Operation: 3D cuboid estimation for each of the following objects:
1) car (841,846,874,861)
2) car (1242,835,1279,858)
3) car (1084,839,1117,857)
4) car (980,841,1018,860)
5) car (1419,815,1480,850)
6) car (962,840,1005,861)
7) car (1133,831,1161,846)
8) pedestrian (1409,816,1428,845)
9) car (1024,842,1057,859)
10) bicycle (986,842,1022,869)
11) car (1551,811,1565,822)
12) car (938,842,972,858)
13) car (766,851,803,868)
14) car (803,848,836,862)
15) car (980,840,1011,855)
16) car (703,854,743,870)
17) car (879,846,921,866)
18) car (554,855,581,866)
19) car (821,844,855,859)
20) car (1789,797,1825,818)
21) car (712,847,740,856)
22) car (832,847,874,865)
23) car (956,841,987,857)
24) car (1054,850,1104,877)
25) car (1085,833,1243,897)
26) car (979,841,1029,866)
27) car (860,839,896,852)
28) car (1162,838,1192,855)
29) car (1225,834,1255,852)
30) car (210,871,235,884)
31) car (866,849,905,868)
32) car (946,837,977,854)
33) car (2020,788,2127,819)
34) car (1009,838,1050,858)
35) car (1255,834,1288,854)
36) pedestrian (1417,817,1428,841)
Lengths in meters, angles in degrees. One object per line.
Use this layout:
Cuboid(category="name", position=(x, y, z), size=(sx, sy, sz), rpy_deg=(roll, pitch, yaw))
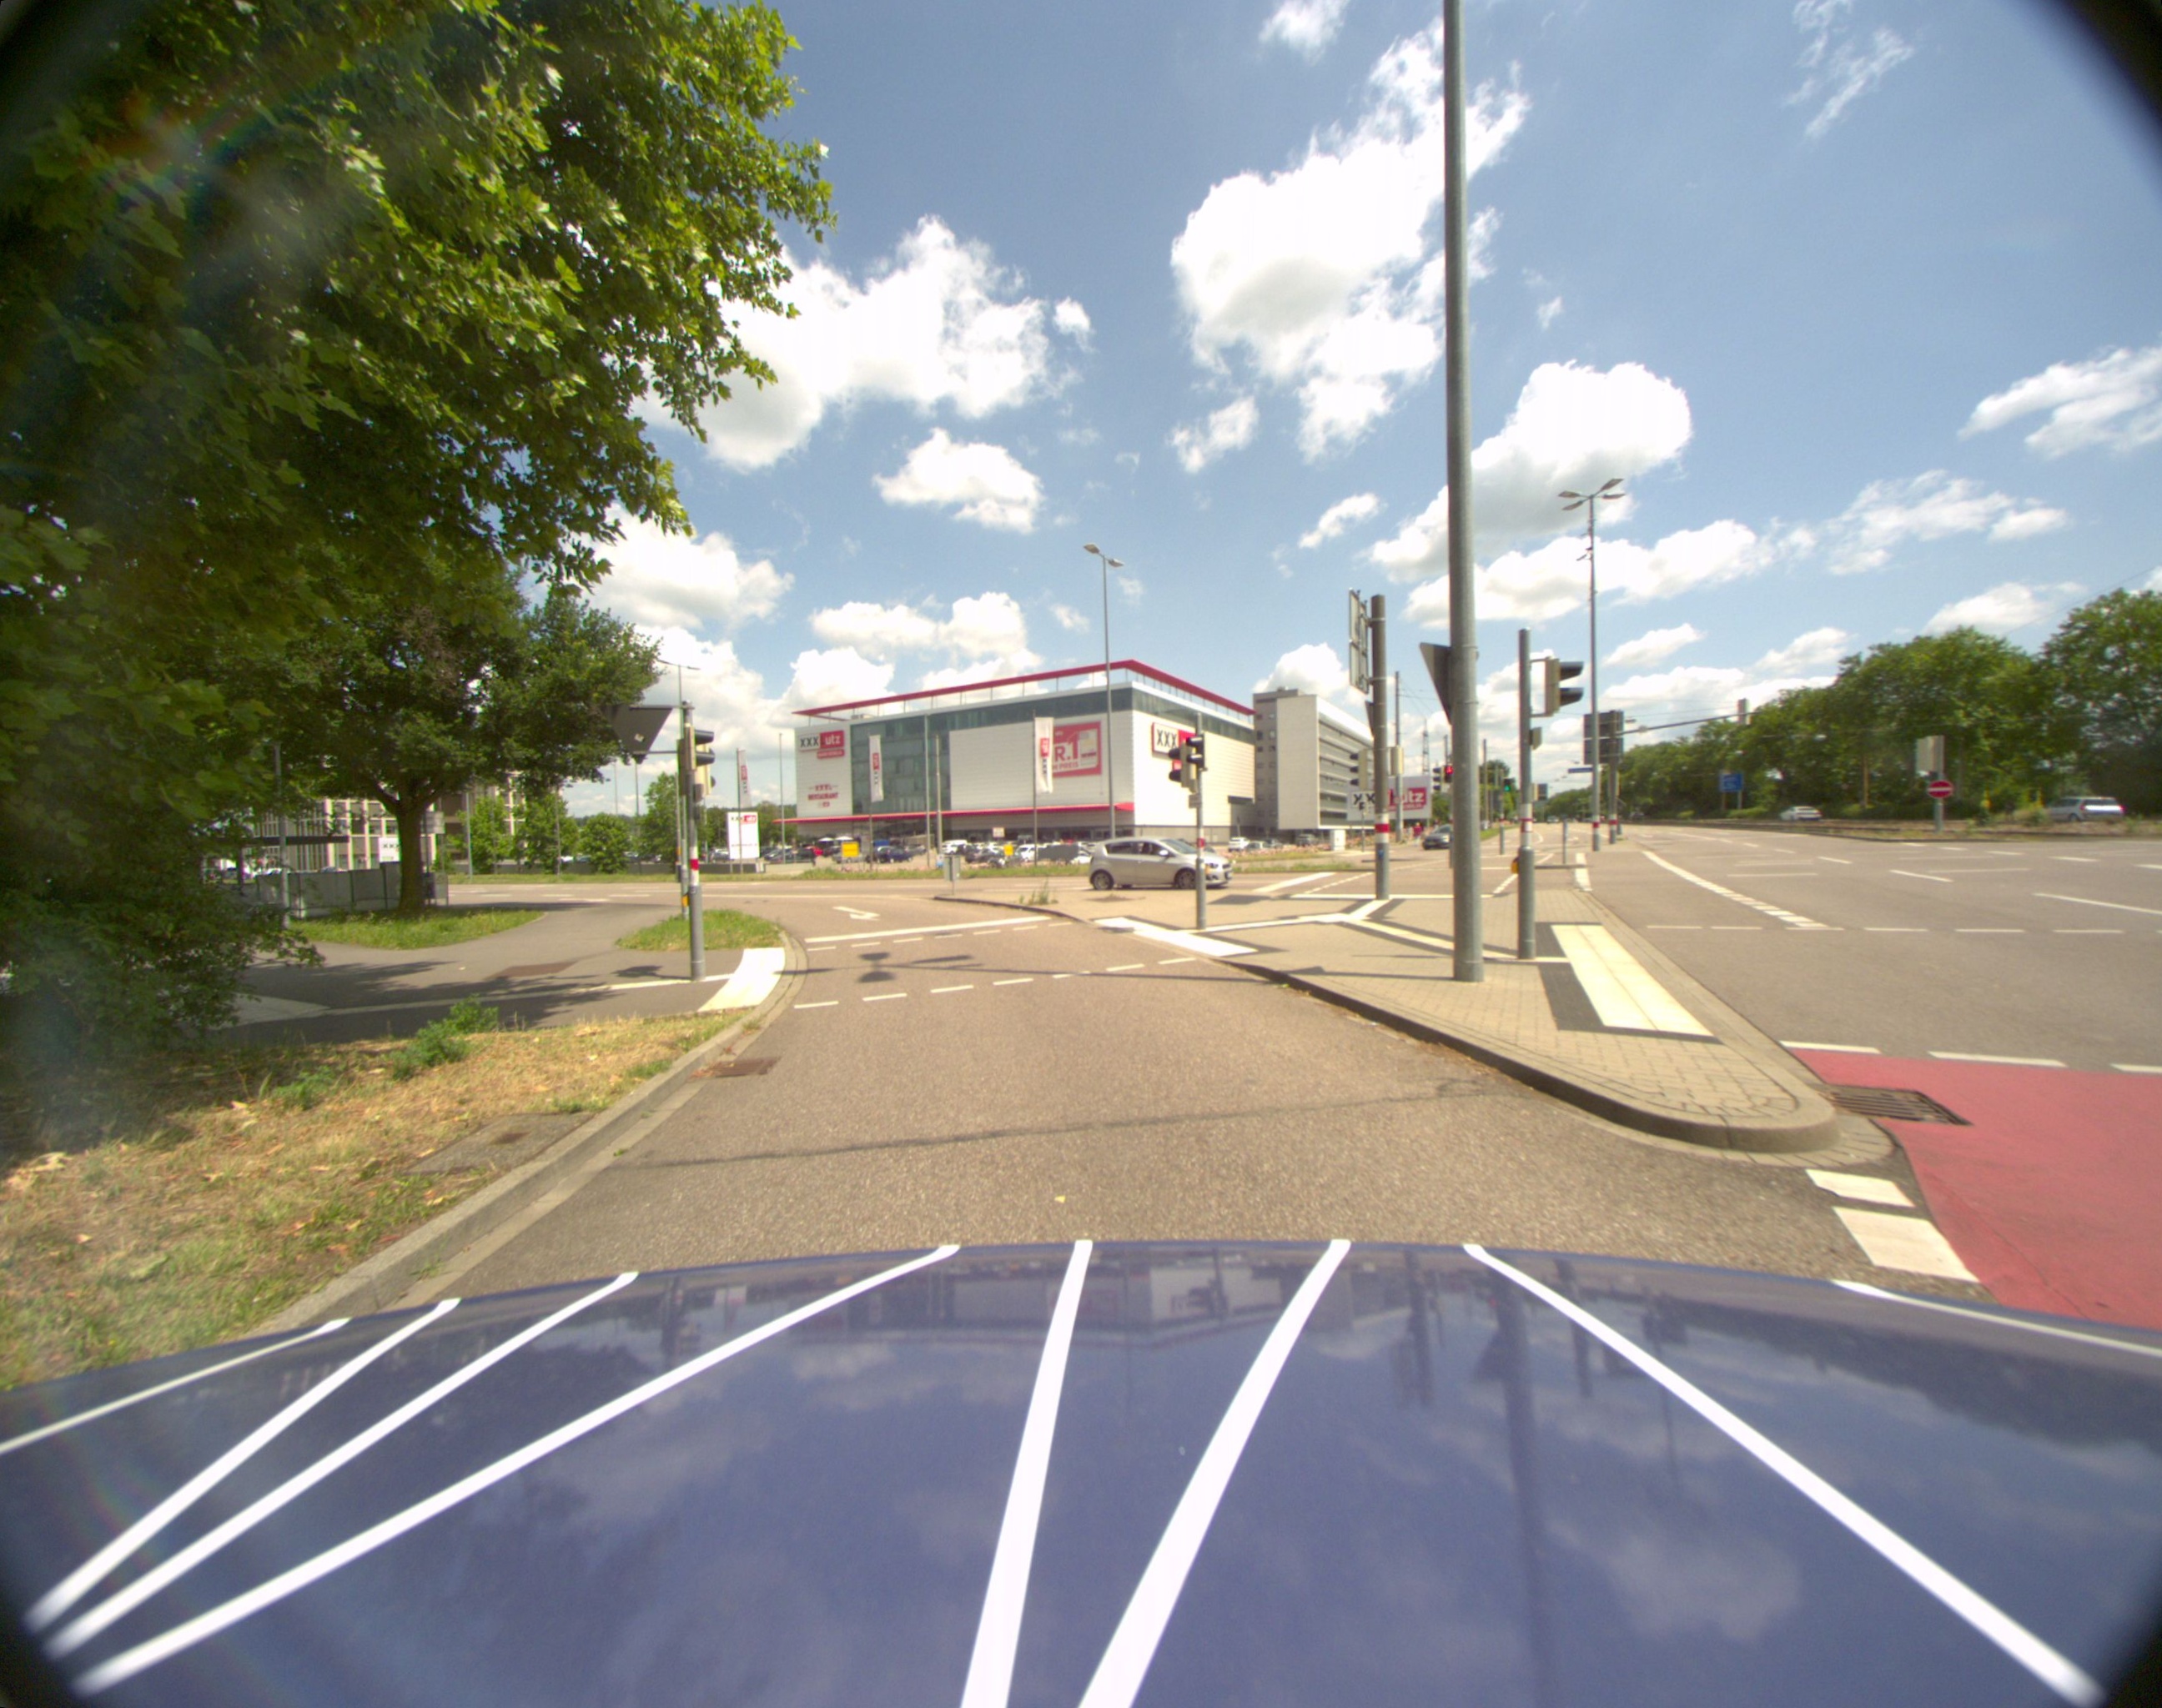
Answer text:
Cuboid(category="car", position=(-32.052, -0.044, 109.166), size=(1.995, 1.978, 4.370), rpy_deg=(-1, 1, 30))
Cuboid(category="car", position=(16.247, -0.681, 68.730), size=(1.995, 1.978, 4.370), rpy_deg=(-1, 1, 30))
Cuboid(category="car", position=(2.304, -0.665, 88.710), size=(1.995, 1.978, 4.093), rpy_deg=(-1, 1, 30))
Cuboid(category="car", position=(-9.024, -0.423, 84.163), size=(1.994, 1.978, 4.370), rpy_deg=(1, 2, 30))
Cuboid(category="car", position=(22.388, -1.313, 46.154), size=(4.008, 2.002, 1.994), rpy_deg=(-2, 1, -43))
Cuboid(category="car", position=(-9.968, -0.359, 77.947), size=(1.995, 1.978, 4.370), rpy_deg=(-1, 1, 30))
Cuboid(category="car", position=(8.954, -2.089, 102.960), size=(1.994, 1.978, 4.093), rpy_deg=(-1, 1, 32))
Cuboid(category="pedestrian", position=(22.131, -1.547, 49.808), size=(0.866, 1.828, 0.798), rpy_deg=(-2, 4, 2))
Cuboid(category="car", position=(-4.814, -0.457, 91.565), size=(1.995, 1.978, 4.093), rpy_deg=(-1, 1, 30))
Cuboid(category="bicycle", position=(-4.918, 0.081, 48.481), size=(2.043, 1.666, 1.022), rpy_deg=(-1, 1, 31))
Cuboid(category="car", position=(97.700, -7.679, 155.612), size=(1.994, 2.002, 4.008), rpy_deg=(-1, 1, 37))
Cuboid(category="car", position=(-16.636, -0.492, 100.277), size=(1.995, 1.978, 4.370), rpy_deg=(-1, 1, 30))
Cuboid(category="car", position=(-40.423, 0.737, 103.583), size=(1.986, 2.031, 4.308), rpy_deg=(-1, 1, 30))
Cuboid(category="car", position=(-39.656, 0.083, 115.277), size=(1.995, 1.978, 4.370), rpy_deg=(-1, 1, 30))
Cuboid(category="car", position=(-11.615, -0.909, 103.425), size=(1.995, 2.002, 4.007), rpy_deg=(-1, 1, 30))
Cuboid(category="car", position=(-47.641, 1.077, 101.299), size=(1.995, 1.977, 4.370), rpy_deg=(-3, 0, 30))
Cuboid(category="car", position=(-20.169, 0.177, 84.839), size=(1.995, 1.978, 4.370), rpy_deg=(-1, 2, 30))
Cuboid(category="car", position=(-87.149, 1.102, 128.935), size=(4.662, 1.822, 1.859), rpy_deg=(-2, 1, 30))
Cuboid(category="car", position=(-35.699, -0.355, 111.722), size=(1.995, 1.978, 4.370), rpy_deg=(-1, 1, 30))
Cuboid(category="car", position=(69.304, -4.372, 72.631), size=(1.994, 1.798, 5.144), rpy_deg=(-1, 1, 38))
Cuboid(category="car", position=(-58.824, -0.431, 125.809), size=(1.676, 1.461, 3.840), rpy_deg=(-1, 1, 33))
Cuboid(category="car", position=(-26.438, 0.220, 88.253), size=(1.995, 1.978, 4.370), rpy_deg=(-1, 1, 30))
Cuboid(category="car", position=(-14.241, -0.683, 98.989), size=(1.772, 2.002, 4.007), rpy_deg=(-1, 1, 30))
Cuboid(category="car", position=(-0.137, 0.709, 60.557), size=(1.995, 1.978, 4.370), rpy_deg=(-1, 1, 30))
Cuboid(category="car", position=(2.306, 0.320, 21.190), size=(3.824, 1.461, 1.903), rpy_deg=(-4, 2, 29))
Cuboid(category="car", position=(-6.518, -0.092, 65.010), size=(1.995, 1.978, 4.370), rpy_deg=(-1, 1, 30))
Cuboid(category="car", position=(-30.855, -1.319, 115.566), size=(2.193, 1.768, 5.143), rpy_deg=(-2, 1, 29))
Cuboid(category="car", position=(11.421, -0.896, 90.380), size=(1.995, 1.978, 4.370), rpy_deg=(-1, 1, 30))
Cuboid(category="car", position=(18.016, -1.246, 86.080), size=(1.995, 1.978, 4.370), rpy_deg=(-1, 1, 30))
Cuboid(category="car", position=(-119.875, 3.321, 106.077), size=(4.159, 1.635, 1.801), rpy_deg=(-2, 0, 34))
Cuboid(category="car", position=(-22.140, 0.503, 86.248), size=(1.838, 1.978, 4.091), rpy_deg=(-1, 3, 30))
Cuboid(category="car", position=(-17.123, -1.212, 109.174), size=(1.865, 2.293, 4.579), rpy_deg=(-1, 1, 30))
Cuboid(category="car", position=(58.156, -2.938, 44.650), size=(1.809, 1.650, 4.328), rpy_deg=(4, 3, 23))
Cuboid(category="car", position=(-5.159, -0.615, 76.753), size=(1.995, 1.829, 4.370), rpy_deg=(-1, 1, 30))
Cuboid(category="car", position=(19.947, -1.065, 79.504), size=(2.243, 1.978, 4.370), rpy_deg=(-1, 1, 30))
Cuboid(category="pedestrian", position=(25.600, -1.863, 56.910), size=(0.595, 1.800, 0.536), rpy_deg=(-1, 1, 41))
